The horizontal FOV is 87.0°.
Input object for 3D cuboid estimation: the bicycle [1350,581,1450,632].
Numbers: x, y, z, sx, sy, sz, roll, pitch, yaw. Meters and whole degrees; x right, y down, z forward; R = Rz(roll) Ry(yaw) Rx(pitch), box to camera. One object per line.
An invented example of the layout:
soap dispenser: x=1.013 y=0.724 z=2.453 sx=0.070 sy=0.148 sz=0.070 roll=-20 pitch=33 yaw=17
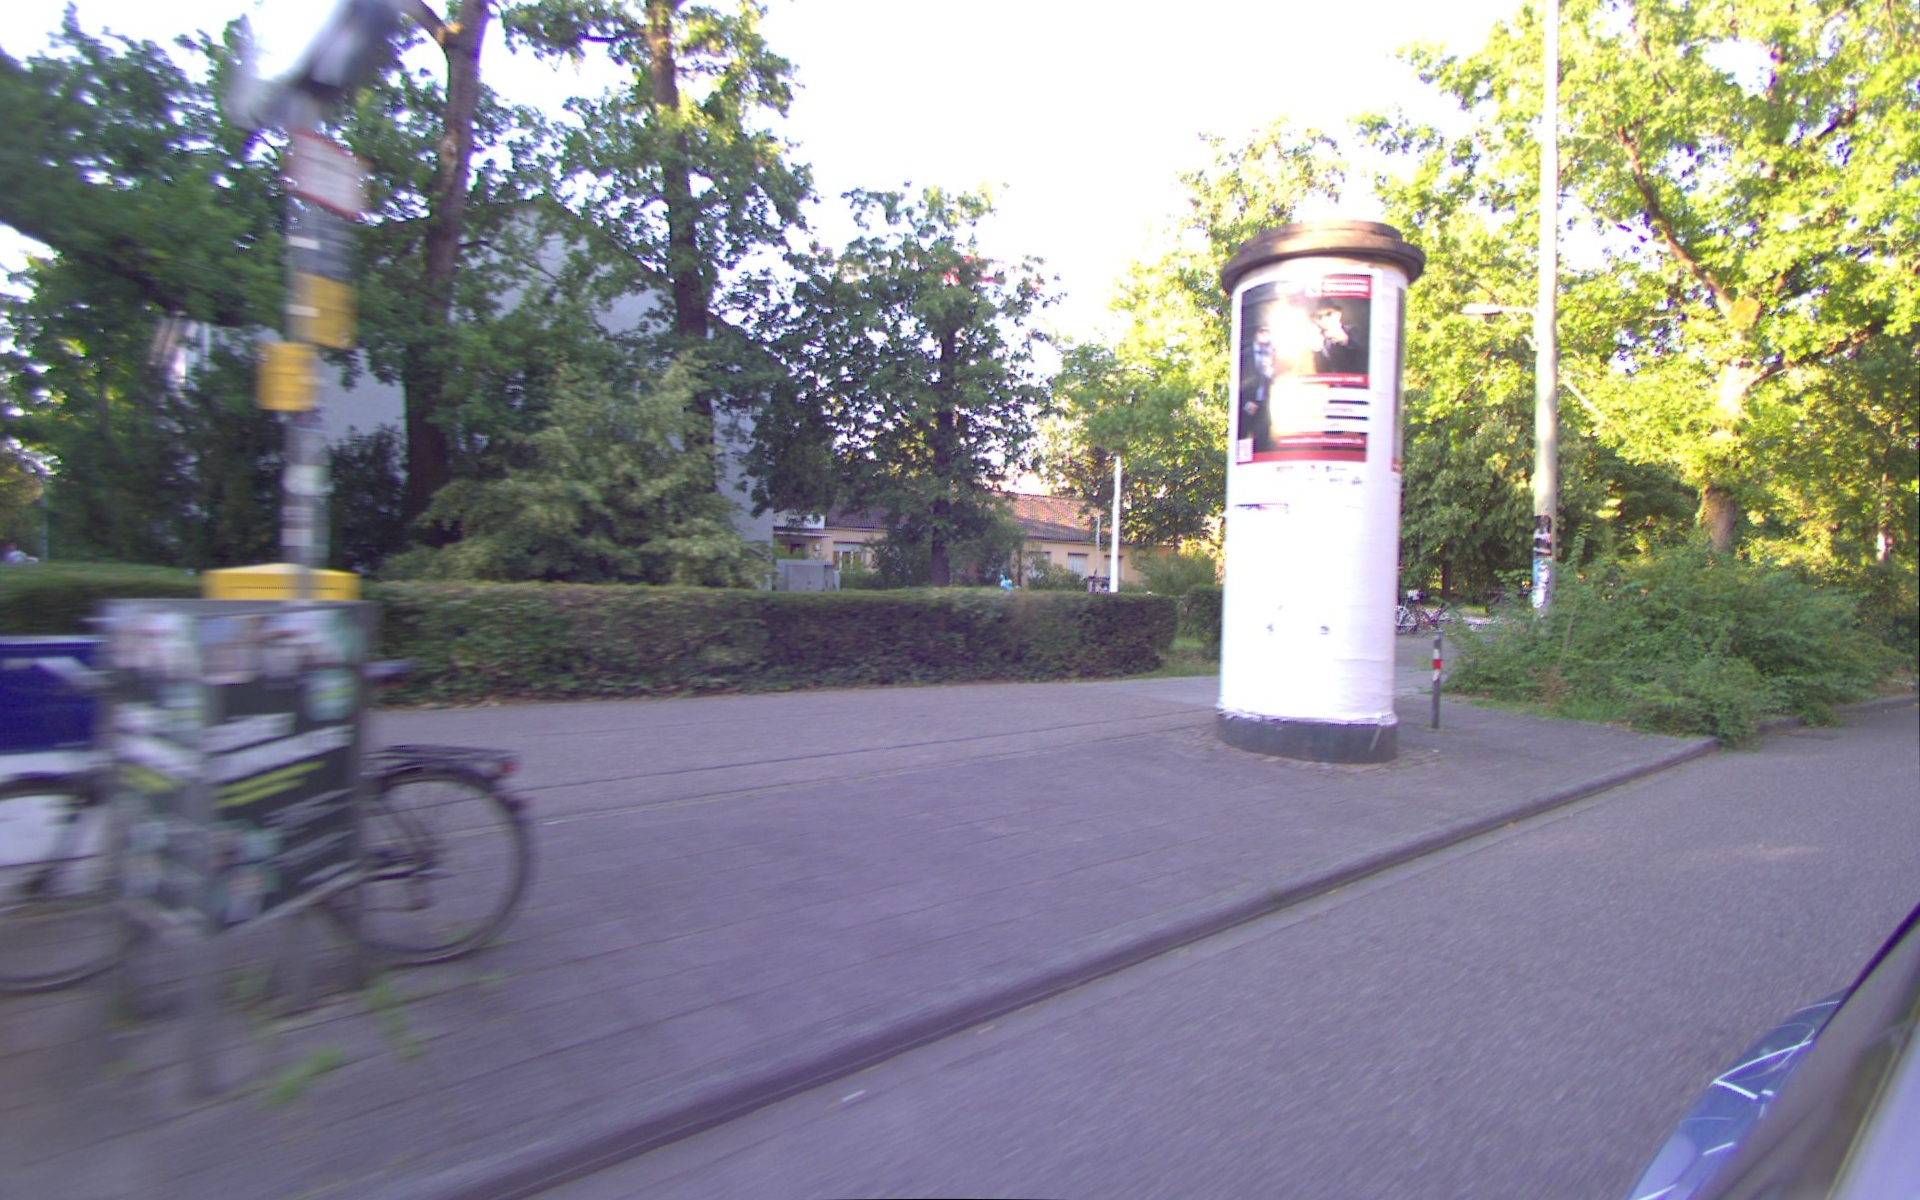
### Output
bicycle: x=12.216 y=0.148 z=28.126 sx=2.432 sy=1.314 sz=0.743 roll=2 pitch=1 yaw=33

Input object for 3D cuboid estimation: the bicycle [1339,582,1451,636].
bicycle: x=10.764 y=0.187 z=25.117 sx=2.436 sy=1.236 sz=0.742 roll=2 pitch=1 yaw=36

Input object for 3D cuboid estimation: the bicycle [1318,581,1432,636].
bicycle: x=10.051 y=0.175 z=24.576 sx=2.436 sy=1.236 sz=0.742 roll=2 pitch=1 yaw=36

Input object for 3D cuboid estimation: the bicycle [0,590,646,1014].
bicycle: x=-2.227 y=0.595 z=3.285 sx=2.237 sy=1.162 sz=0.495 roll=2 pitch=3 yaw=-21

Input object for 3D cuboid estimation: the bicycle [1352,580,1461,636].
bicycle: x=11.525 y=0.185 z=26.190 sx=2.434 sy=1.235 sz=0.743 roll=6 pitch=3 yaw=33

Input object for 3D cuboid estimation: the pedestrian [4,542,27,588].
pedestrian: x=-39.054 y=-1.450 z=41.849 sx=0.709 sy=1.860 sz=0.739 roll=0 pitch=1 yaw=-44
